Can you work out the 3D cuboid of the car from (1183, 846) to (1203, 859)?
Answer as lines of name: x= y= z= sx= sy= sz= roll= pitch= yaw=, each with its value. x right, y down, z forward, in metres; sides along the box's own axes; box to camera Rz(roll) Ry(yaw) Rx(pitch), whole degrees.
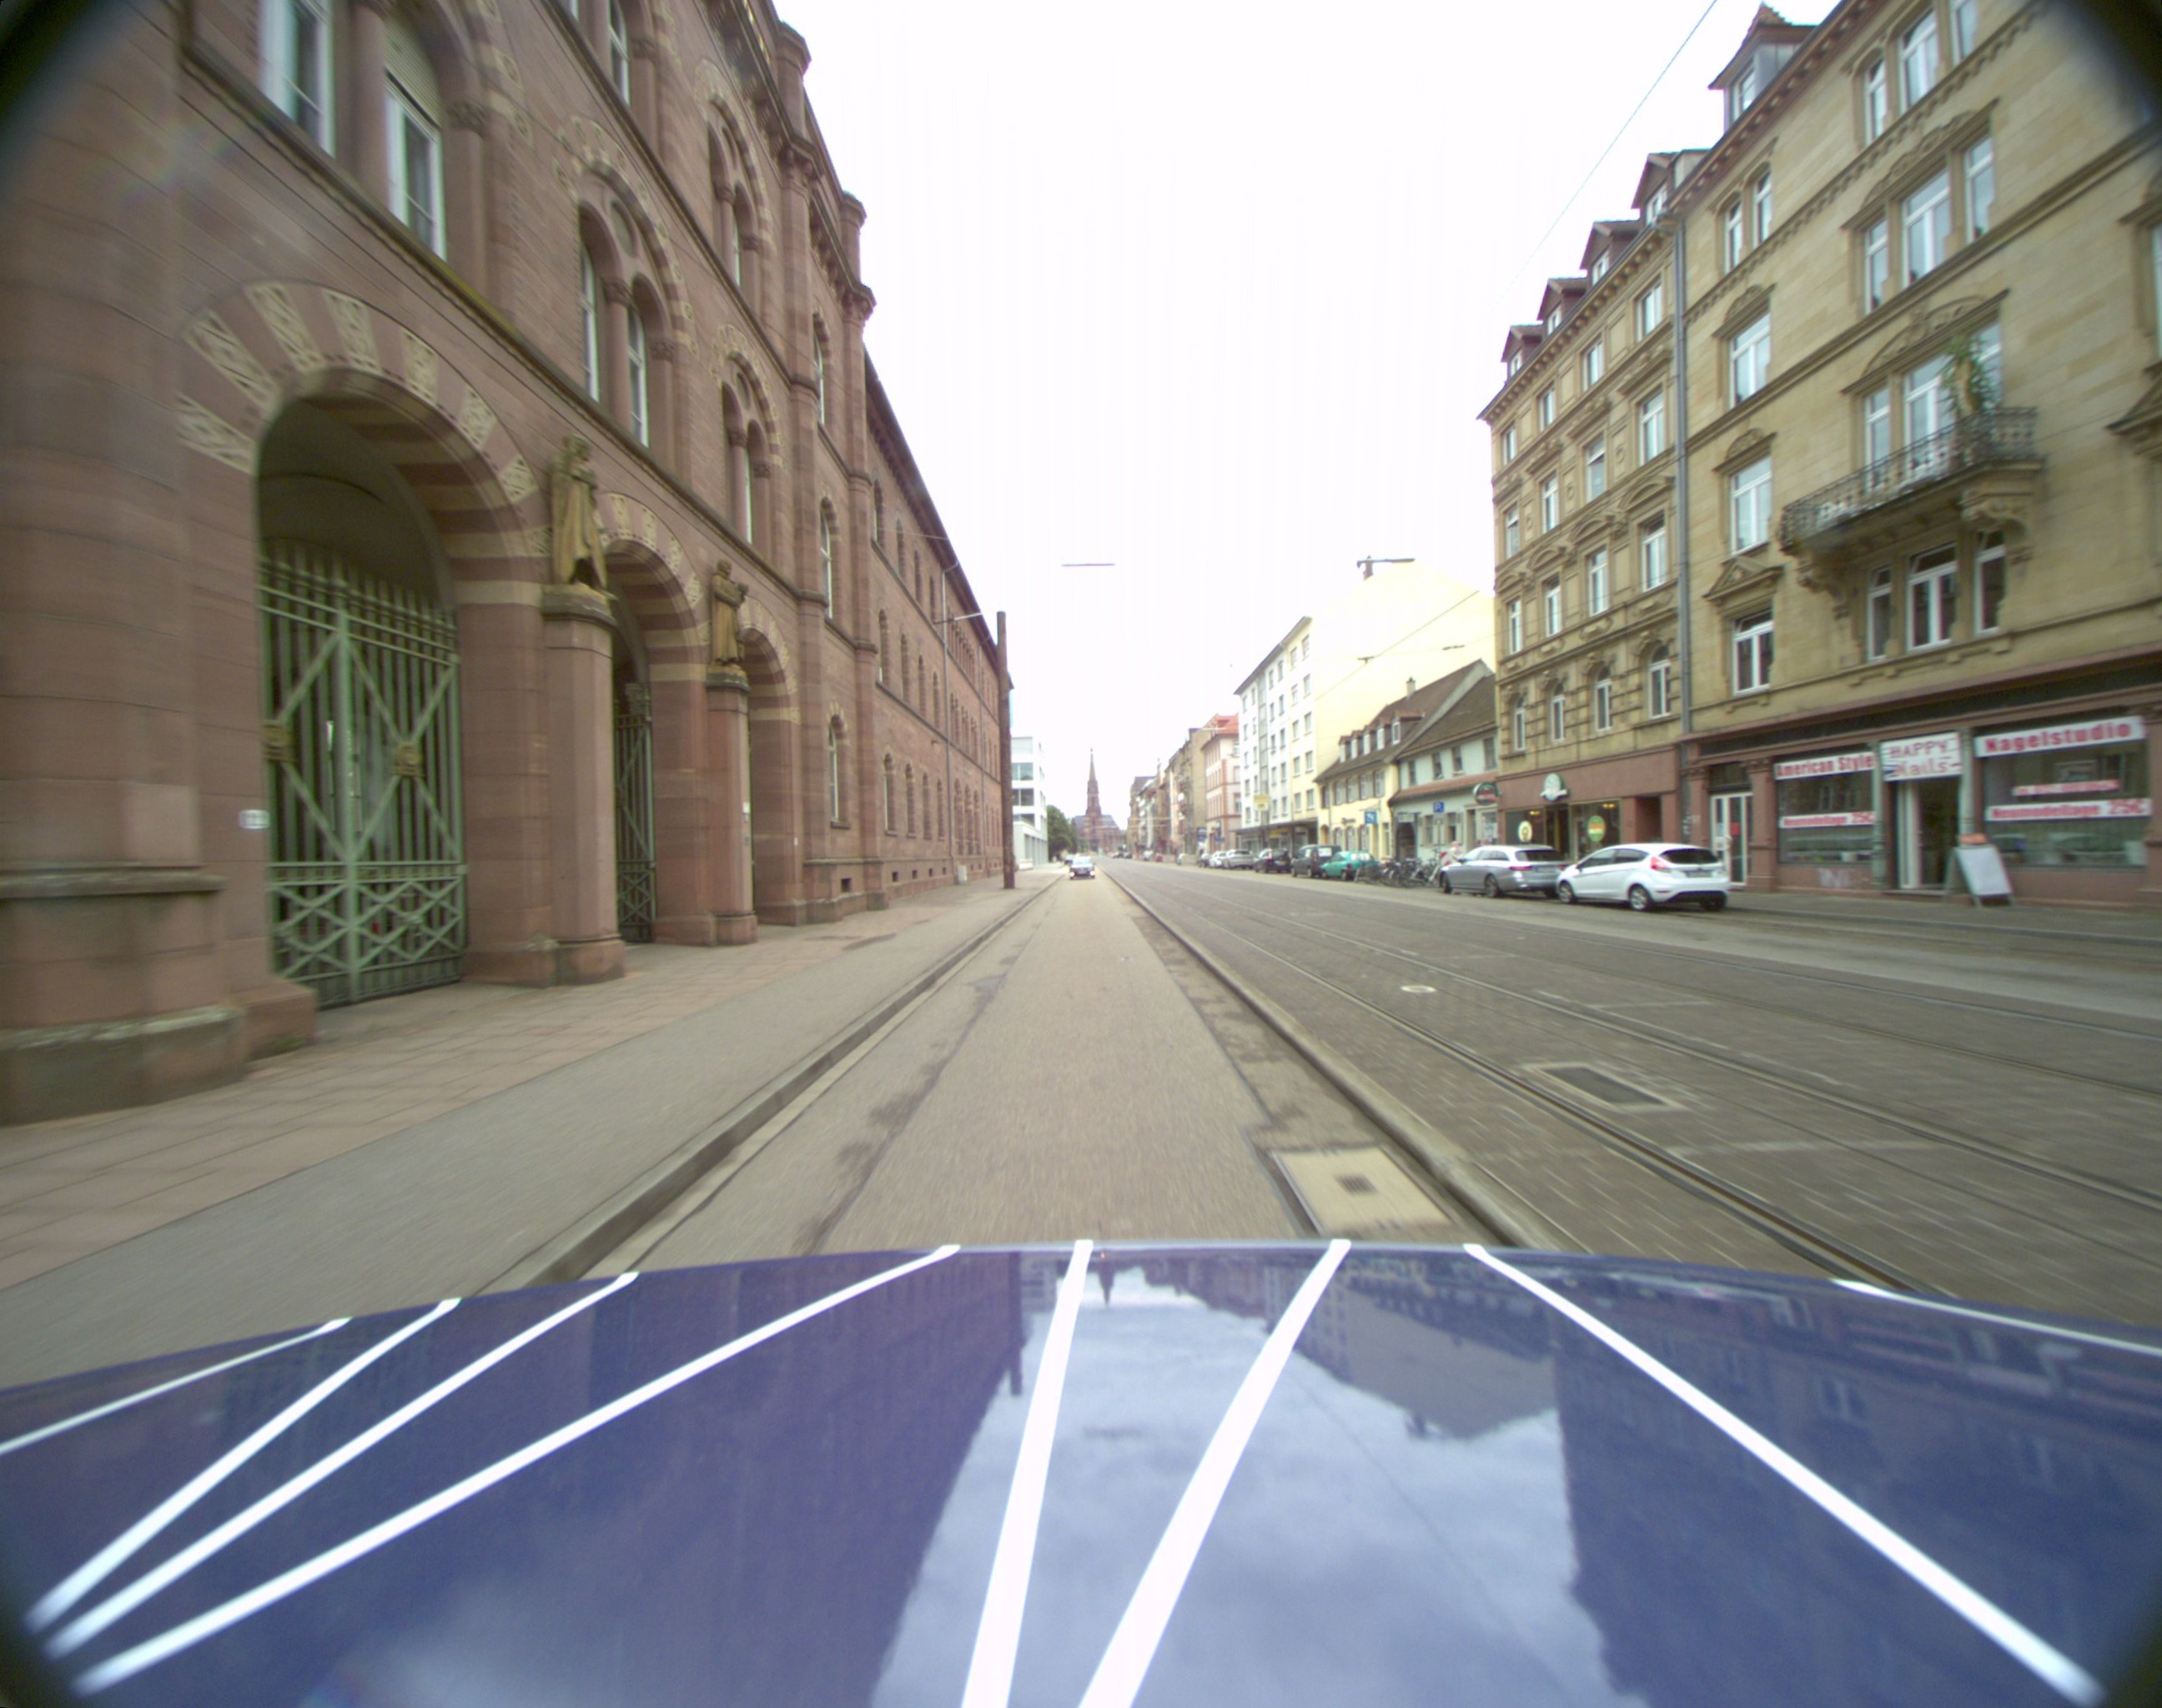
car: x=13.300 y=-0.203 z=90.270 sx=1.867 sy=1.553 sz=4.000 roll=0 pitch=1 yaw=1

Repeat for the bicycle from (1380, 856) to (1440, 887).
bicycle: x=12.793 y=0.683 z=29.573 sx=2.044 sy=1.091 sz=0.557 roll=-3 pitch=1 yaw=1

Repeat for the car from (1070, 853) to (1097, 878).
car: x=0.133 y=0.767 z=51.472 sx=1.747 sy=1.538 sz=3.650 roll=-2 pitch=1 yaw=-1

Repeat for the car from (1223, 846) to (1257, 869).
car: x=13.006 y=0.286 z=62.471 sx=1.928 sy=1.722 sz=3.826 roll=-3 pitch=1 yaw=0

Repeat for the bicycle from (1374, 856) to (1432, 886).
bicycle: x=12.774 y=0.678 z=30.187 sx=2.044 sy=1.091 sz=0.557 roll=-3 pitch=1 yaw=1

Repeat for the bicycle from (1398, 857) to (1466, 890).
bicycle: x=12.696 y=0.706 z=27.506 sx=2.139 sy=1.091 sz=0.557 roll=-3 pitch=1 yaw=1

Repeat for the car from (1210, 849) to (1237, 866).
car: x=12.958 y=0.275 z=69.355 sx=1.733 sy=1.443 sz=3.826 roll=-3 pitch=1 yaw=0

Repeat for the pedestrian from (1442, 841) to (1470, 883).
pedestrian: x=14.597 y=0.306 z=29.603 sx=0.657 sy=1.607 sz=0.728 roll=-3 pitch=1 yaw=0

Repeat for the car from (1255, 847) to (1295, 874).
car: x=13.063 y=0.399 z=51.440 sx=1.704 sy=1.662 sz=4.181 roll=-3 pitch=1 yaw=2

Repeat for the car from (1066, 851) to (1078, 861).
car: x=-1.515 y=0.358 z=132.720 sx=1.835 sy=1.652 sz=4.000 roll=-3 pitch=1 yaw=1

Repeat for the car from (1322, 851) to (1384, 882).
car: x=13.027 y=0.579 z=36.590 sx=1.651 sy=1.373 sz=3.435 roll=-1 pitch=0 yaw=-3

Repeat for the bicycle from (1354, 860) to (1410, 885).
bicycle: x=12.825 y=0.783 z=32.383 sx=2.126 sy=0.928 sz=0.557 roll=-3 pitch=1 yaw=-2

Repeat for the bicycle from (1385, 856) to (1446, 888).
bicycle: x=12.699 y=0.693 z=28.891 sx=2.044 sy=1.091 sz=0.557 roll=-3 pitch=1 yaw=1

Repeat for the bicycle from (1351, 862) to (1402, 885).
bicycle: x=13.196 y=0.875 z=33.969 sx=2.044 sy=0.928 sz=0.557 roll=-3 pitch=1 yaw=-2

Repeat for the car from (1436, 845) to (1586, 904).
car: x=12.226 y=0.543 z=22.004 sx=1.829 sy=1.512 sz=4.545 roll=-1 pitch=0 yaw=1

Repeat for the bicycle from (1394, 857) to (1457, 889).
bicycle: x=12.767 y=0.696 z=28.212 sx=2.044 sy=1.091 sz=0.557 roll=-3 pitch=1 yaw=1

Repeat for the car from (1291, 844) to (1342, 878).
car: x=12.780 y=0.349 z=41.494 sx=1.707 sy=1.747 sz=3.920 roll=-1 pitch=1 yaw=2

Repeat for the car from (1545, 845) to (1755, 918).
car: x=12.649 y=0.551 z=17.268 sx=1.748 sy=1.456 sz=4.046 roll=-1 pitch=0 yaw=0

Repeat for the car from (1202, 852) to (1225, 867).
car: x=13.139 y=0.502 z=75.547 sx=1.733 sy=1.336 sz=3.246 roll=-3 pitch=1 yaw=0

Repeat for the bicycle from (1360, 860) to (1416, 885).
bicycle: x=12.794 y=0.769 z=31.686 sx=2.044 sy=0.928 sz=0.557 roll=-3 pitch=1 yaw=2

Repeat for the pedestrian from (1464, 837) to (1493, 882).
pedestrian: x=15.381 y=0.212 z=29.384 sx=0.657 sy=1.702 sz=0.753 roll=-3 pitch=1 yaw=0
